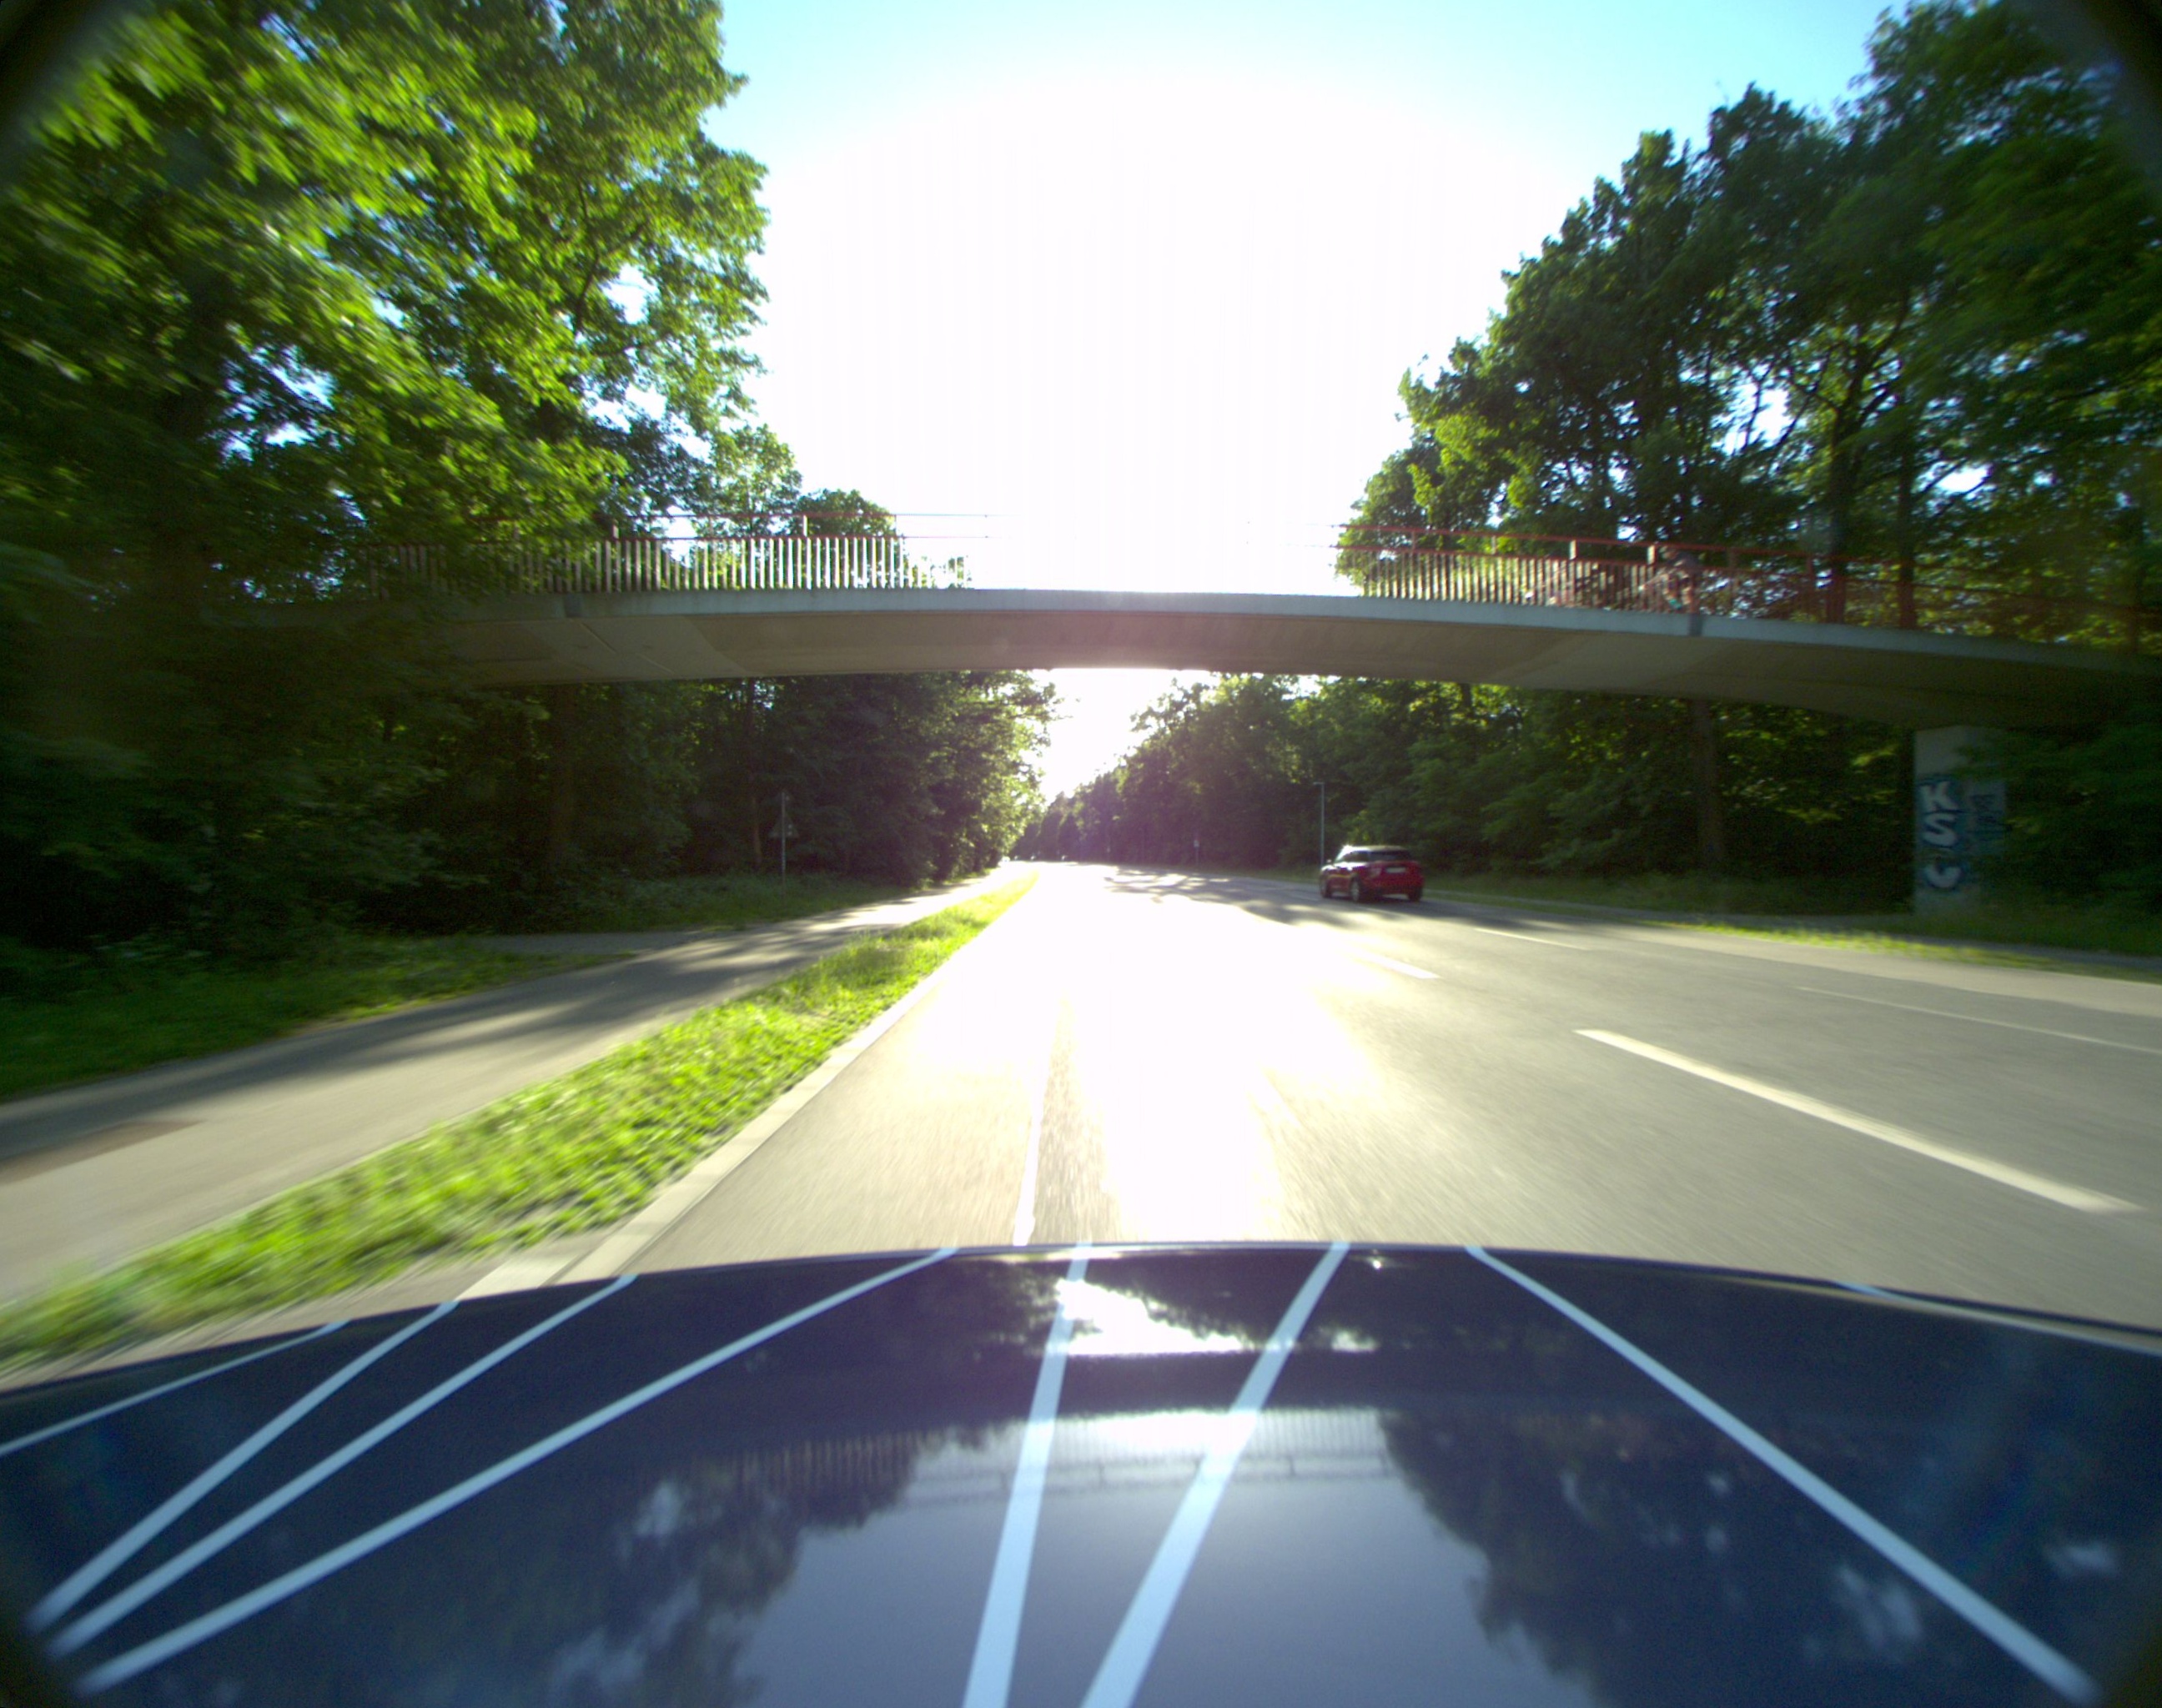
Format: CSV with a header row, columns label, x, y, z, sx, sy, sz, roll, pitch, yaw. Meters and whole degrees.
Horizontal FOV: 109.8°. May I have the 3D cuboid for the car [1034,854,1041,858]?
label,x,y,z,sx,sy,sz,roll,pitch,yaw
car,-13.351,0.595,233.674,1.715,1.415,4.127,-1,0,-8

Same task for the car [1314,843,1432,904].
label,x,y,z,sx,sy,sz,roll,pitch,yaw
car,8.402,0.511,22.259,1.766,1.573,4.168,-2,0,-1

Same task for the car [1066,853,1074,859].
label,x,y,z,sx,sy,sz,roll,pitch,yaw
car,-2.506,0.456,175.468,1.499,1.436,3.498,-2,0,-4

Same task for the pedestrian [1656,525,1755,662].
label,x,y,z,sx,sy,sz,roll,pitch,yaw
pedestrian,11.732,-4.882,14.329,0.881,2.139,1.036,4,-9,0
